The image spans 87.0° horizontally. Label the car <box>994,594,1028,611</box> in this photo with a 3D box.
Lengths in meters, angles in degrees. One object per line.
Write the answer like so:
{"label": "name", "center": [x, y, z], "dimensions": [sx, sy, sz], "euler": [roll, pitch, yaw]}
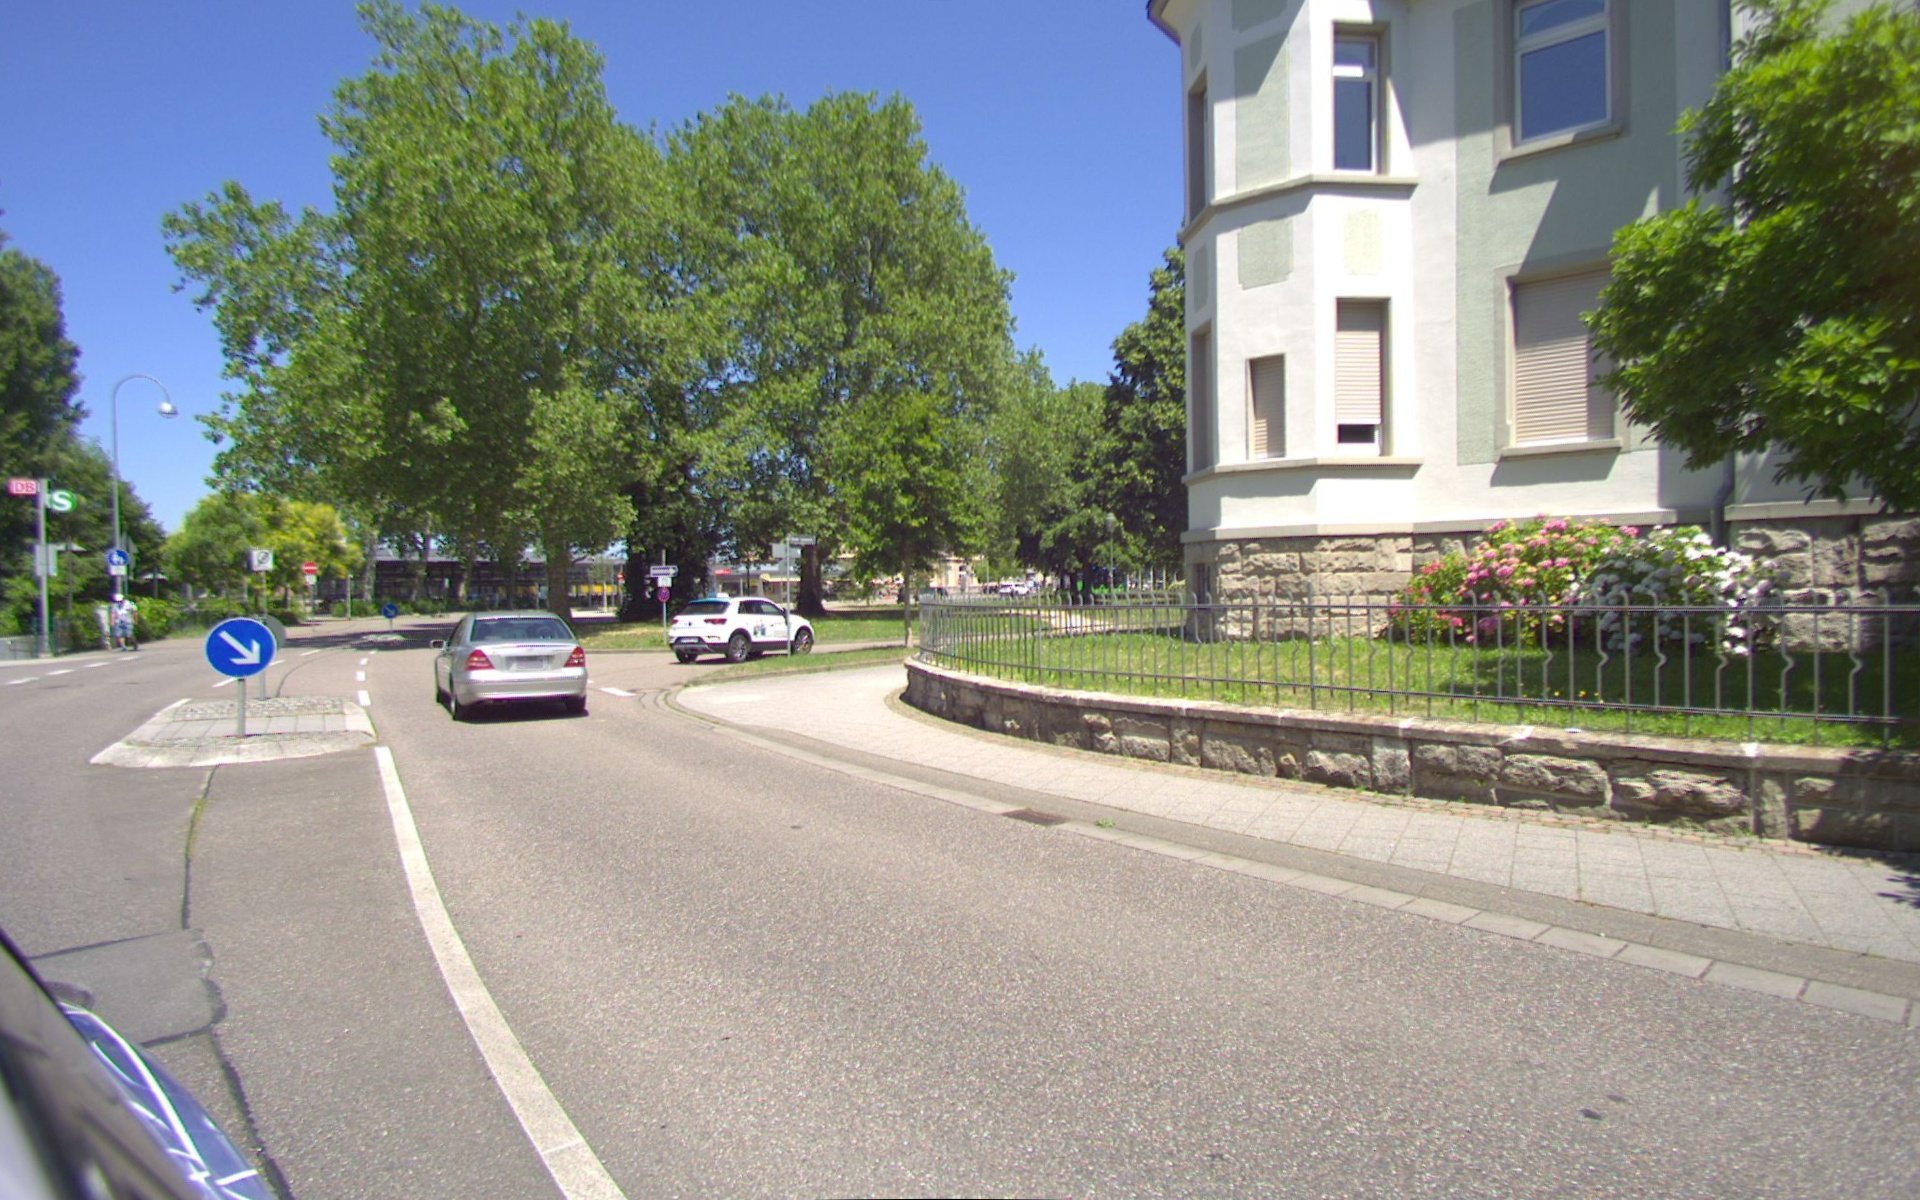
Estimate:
{"label": "car", "center": [5.502, 0.267, 108.743], "dimensions": [2.040, 1.760, 4.281], "euler": [0, 0, 28]}

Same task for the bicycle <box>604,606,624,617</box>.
{"label": "bicycle", "center": [-38.521, 1.294, 112.643], "dimensions": [0.668, 1.081, 2.145], "euler": [1, 4, 34]}

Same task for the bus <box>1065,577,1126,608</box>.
{"label": "bus", "center": [15.957, -0.921, 117.865], "dimensions": [2.805, 3.327, 11.739], "euler": [-2, 0, 29]}

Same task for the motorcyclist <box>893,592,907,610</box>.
{"label": "motorcyclist", "center": [-5.321, 0.080, 89.964], "dimensions": [0.806, 1.567, 1.094], "euler": [-1, 0, 28]}

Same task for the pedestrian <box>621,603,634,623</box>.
{"label": "pedestrian", "center": [-29.188, 1.109, 88.878], "dimensions": [0.901, 1.749, 0.677], "euler": [-2, 0, -7]}

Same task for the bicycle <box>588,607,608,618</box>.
{"label": "bicycle", "center": [-40.827, 1.371, 114.141], "dimensions": [0.668, 1.081, 2.145], "euler": [1, 4, 34]}

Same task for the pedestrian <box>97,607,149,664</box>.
{"label": "pedestrian", "center": [-26.308, 1.103, 31.830], "dimensions": [0.900, 1.785, 0.917], "euler": [1, -1, -10]}

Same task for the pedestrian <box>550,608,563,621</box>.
{"label": "pedestrian", "center": [-39.626, 1.414, 99.463], "dimensions": [0.827, 1.284, 0.860], "euler": [-1, 0, 27]}

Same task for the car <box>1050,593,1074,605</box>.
{"label": "car", "center": [12.254, -0.099, 121.340], "dimensions": [1.637, 1.428, 3.964], "euler": [0, 0, 26]}

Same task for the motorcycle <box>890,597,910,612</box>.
{"label": "motorcycle", "center": [-5.330, 0.395, 89.893], "dimensions": [0.806, 1.241, 2.031], "euler": [-1, 0, 28]}

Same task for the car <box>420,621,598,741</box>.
{"label": "car", "center": [-6.622, 1.030, 14.587], "dimensions": [1.734, 1.446, 4.316], "euler": [1, -1, -32]}

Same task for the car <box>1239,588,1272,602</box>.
{"label": "car", "center": [40.966, -0.734, 140.368], "dimensions": [3.989, 1.817, 1.977], "euler": [-2, 0, 34]}

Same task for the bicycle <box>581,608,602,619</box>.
{"label": "bicycle", "center": [-41.799, 1.508, 114.839], "dimensions": [0.668, 1.081, 2.145], "euler": [1, 4, 34]}

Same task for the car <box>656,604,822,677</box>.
{"label": "car", "center": [-5.358, 0.968, 25.116], "dimensions": [1.867, 1.635, 4.269], "euler": [-2, -2, 24]}
